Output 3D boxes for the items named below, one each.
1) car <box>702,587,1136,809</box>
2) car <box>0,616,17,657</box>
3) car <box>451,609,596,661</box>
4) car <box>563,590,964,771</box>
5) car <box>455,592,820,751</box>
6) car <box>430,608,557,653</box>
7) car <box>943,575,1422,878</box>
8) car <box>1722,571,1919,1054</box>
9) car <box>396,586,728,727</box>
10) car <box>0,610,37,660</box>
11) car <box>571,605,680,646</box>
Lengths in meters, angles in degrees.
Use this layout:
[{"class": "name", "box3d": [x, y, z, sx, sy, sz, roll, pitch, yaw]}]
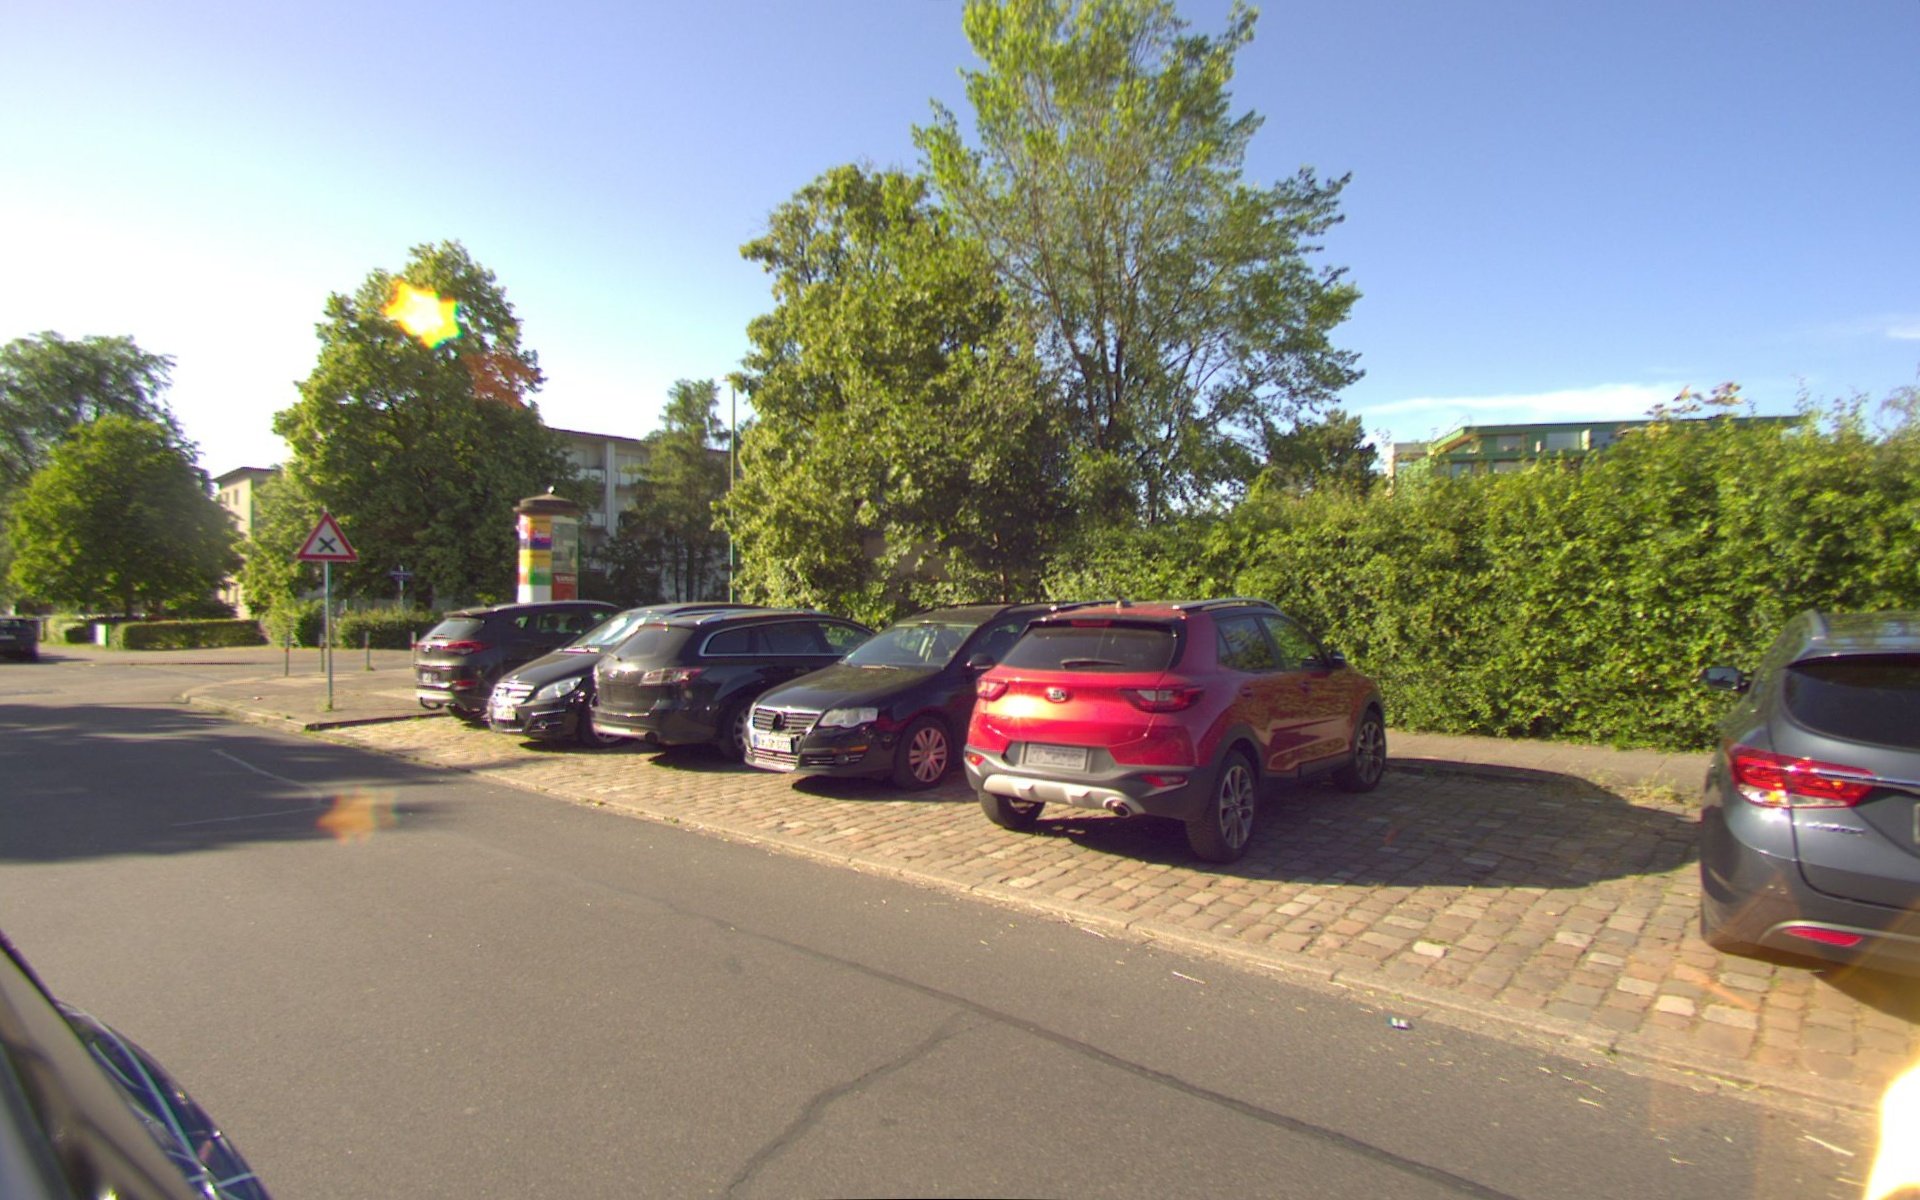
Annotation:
[{"class": "car", "box3d": [-0.182, 0.694, 9.500, 1.904, 1.524, 3.979, 0, 2, 39]}, {"class": "car", "box3d": [-35.809, 1.316, 36.981, 3.652, 1.448, 1.606, -2, -4, 42]}, {"class": "car", "box3d": [-13.978, 1.111, 32.534, 1.655, 1.567, 3.944, 0, -1, 43]}, {"class": "car", "box3d": [-1.995, 0.703, 11.164, 1.813, 1.524, 4.048, 0, 2, 43]}, {"class": "car", "box3d": [-3.829, 0.728, 12.555, 1.830, 1.544, 3.948, 0, 2, 39]}, {"class": "car", "box3d": [-17.149, 1.122, 37.337, 1.745, 1.554, 3.876, 0, -2, 39]}, {"class": "car", "box3d": [1.832, 0.624, 7.250, 1.788, 1.490, 3.949, -2, 1, 38]}, {"class": "car", "box3d": [4.825, 0.631, 4.676, 1.747, 1.490, 4.497, -2, 1, 41]}, {"class": "car", "box3d": [-5.669, 0.686, 14.843, 1.845, 1.668, 4.146, 0, 2, 39]}, {"class": "car", "box3d": [-32.104, 1.151, 33.549, 4.422, 1.586, 1.761, -2, -1, 42]}, {"class": "car", "box3d": [-13.576, 1.033, 41.217, 1.745, 1.554, 3.876, 0, -2, 39]}]
